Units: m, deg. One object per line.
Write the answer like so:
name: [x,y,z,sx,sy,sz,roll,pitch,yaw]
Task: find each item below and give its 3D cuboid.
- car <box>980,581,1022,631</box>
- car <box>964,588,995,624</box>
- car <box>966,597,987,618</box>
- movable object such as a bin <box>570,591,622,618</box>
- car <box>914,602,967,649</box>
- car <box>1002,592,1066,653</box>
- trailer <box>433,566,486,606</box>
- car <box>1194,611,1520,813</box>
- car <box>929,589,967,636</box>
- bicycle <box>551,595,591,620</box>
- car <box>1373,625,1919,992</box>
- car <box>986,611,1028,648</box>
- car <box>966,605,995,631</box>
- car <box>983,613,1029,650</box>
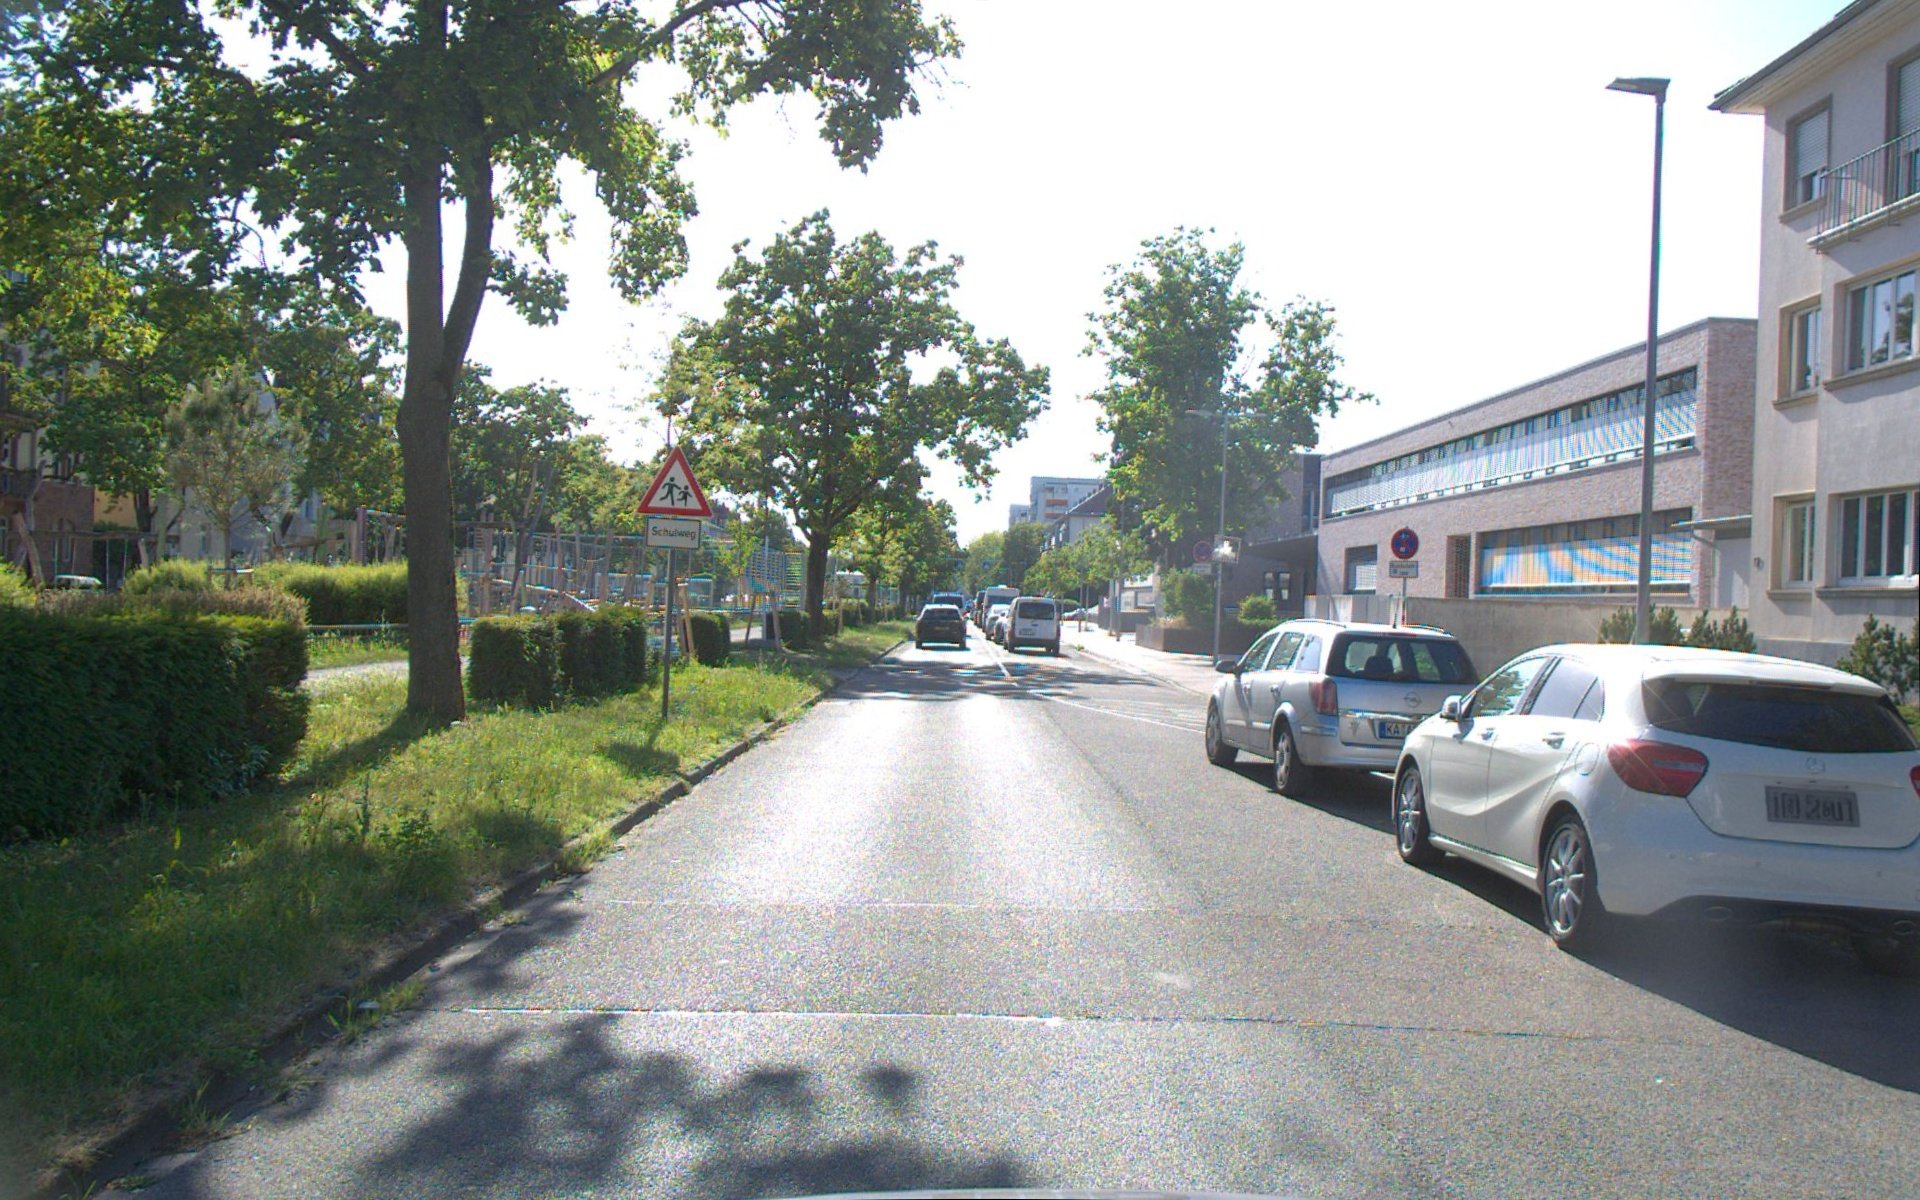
car: [2.298,0.338,93.752,2.195,2.619,5.432,2,0,0]
car: [1.431,0.423,123.576,2.072,2.559,6.530,2,0,-1]
car: [1.568,0.735,156.164,1.757,1.887,4.414,2,0,2]
movable object such as a bin: [-17.375,0.219,78.973,2.284,1.263,1.055,1,0,-4]
car: [-0.650,0.871,57.714,1.757,1.537,4.000,2,0,0]
car: [2.495,0.733,56.770,1.771,1.942,4.460,2,0,-2]
trailer: [-39.010,-1.068,129.079,2.295,2.920,5.801,2,0,-1]
car: [3.504,0.919,15.462,1.627,1.490,4.407,4,0,-4]
car: [-0.577,0.598,81.242,1.757,2.159,4.000,2,0,0]
bicycle: [-18.289,0.355,77.761,1.758,1.127,0.500,2,0,-2]
car: [3.768,0.945,9.246,1.758,1.445,4.288,4,0,0]
car: [2.062,1.271,73.403,1.667,1.504,4.173,2,0,0]
car: [1.346,1.193,111.061,1.808,1.669,4.503,2,0,-1]
car: [1.819,1.238,66.496,1.667,1.348,4.129,2,0,-1]
